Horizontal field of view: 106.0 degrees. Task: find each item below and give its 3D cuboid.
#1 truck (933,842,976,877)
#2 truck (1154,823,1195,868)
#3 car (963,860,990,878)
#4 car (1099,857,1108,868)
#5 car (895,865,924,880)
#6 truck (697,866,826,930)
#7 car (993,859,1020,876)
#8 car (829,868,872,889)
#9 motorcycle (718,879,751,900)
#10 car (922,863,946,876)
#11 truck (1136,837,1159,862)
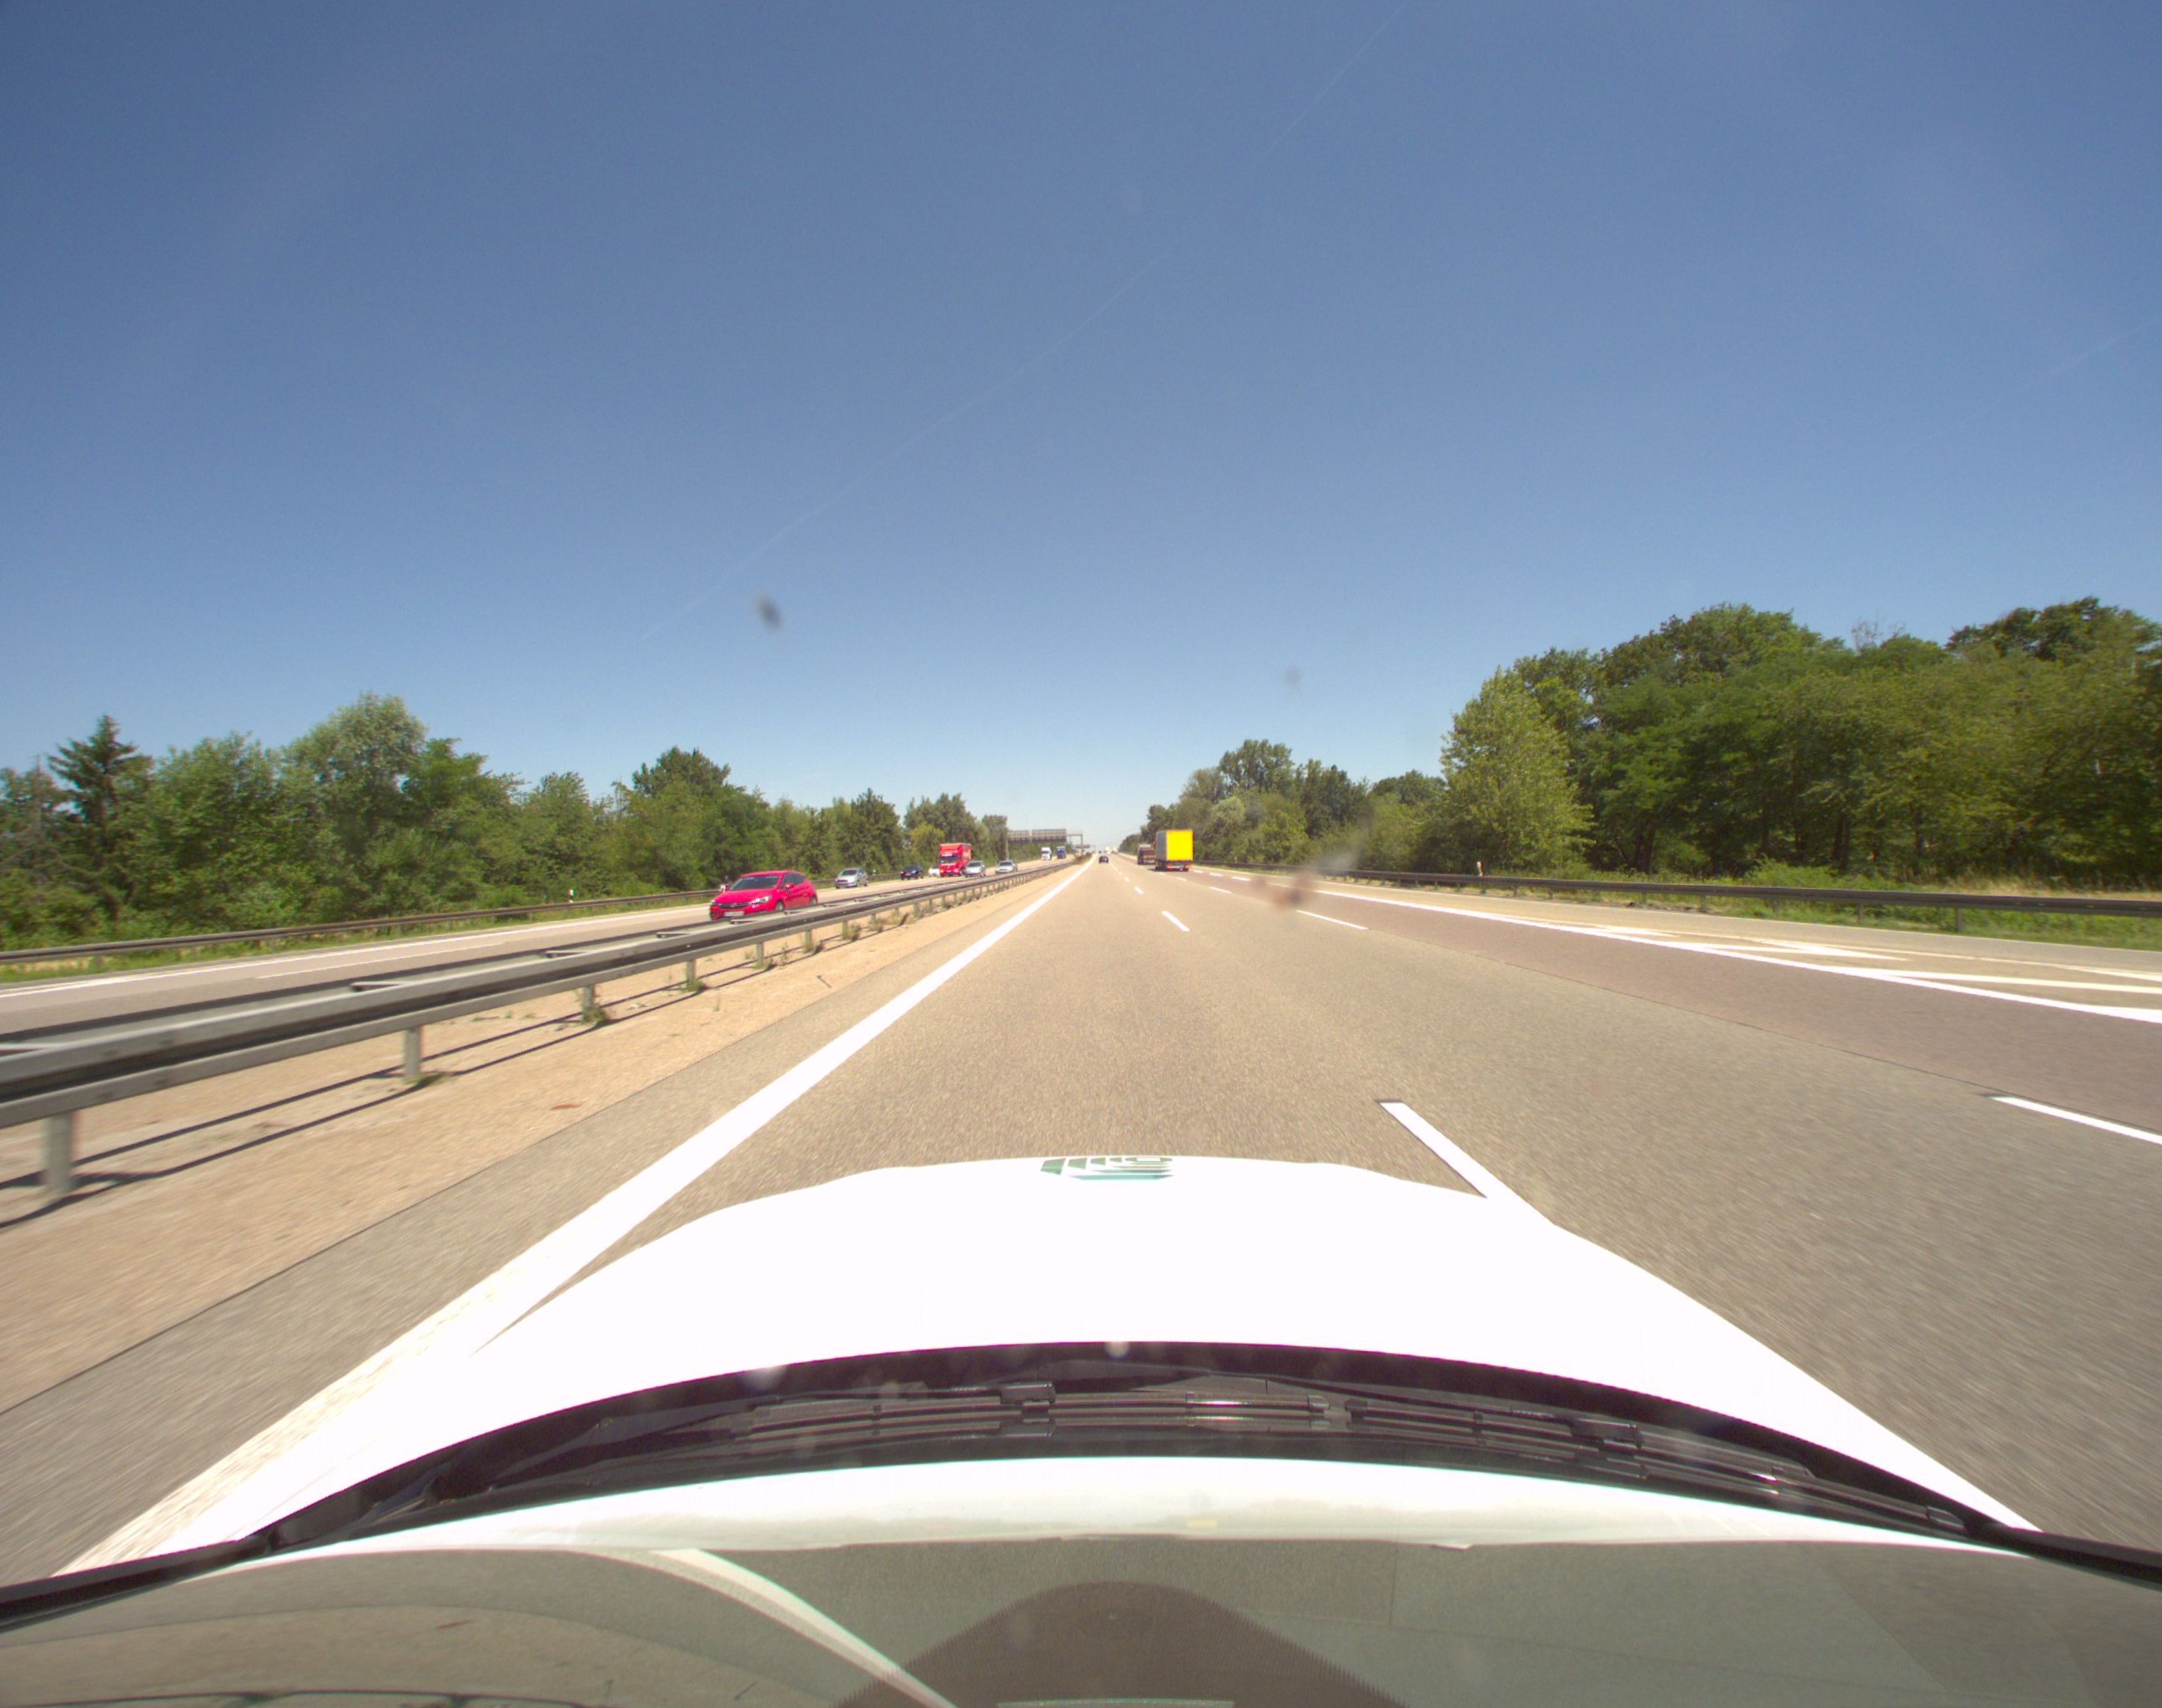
[{"bbox_3d":[-14.536,0.642,94.399,3.053,3.727,9.809,-2,0,2],"label":"truck"},{"bbox_3d":[9.777,-0.765,86.892,2.834,4.257,16.798,-2,0,2],"label":"truck"},{"bbox_3d":[-10.773,1.535,84.287,1.986,1.626,4.546,-3,0,2],"label":"car"},{"bbox_3d":[4.246,1.584,153.804,1.785,2.014,3.889,0,-1,2],"label":"car"},{"bbox_3d":[-19.122,2.032,90.958,1.985,1.578,4.272,0,0,4],"label":"car"},{"bbox_3d":[-9.041,1.183,23.469,1.823,1.563,4.312,-2,0,2],"label":"truck"},{"bbox_3d":[-7.567,1.362,83.300,1.986,1.552,5.227,-2,0,2],"label":"car"},{"bbox_3d":[-19.052,1.977,67.573,1.986,1.509,4.723,-4,0,2],"label":"car"},{"bbox_3d":[-20.803,2.120,48.989,0.775,1.112,2.397,-2,0,5],"label":"motorcycle"},{"bbox_3d":[-18.428,1.956,102.229,1.986,1.412,4.975,-2,0,2],"label":"car"},{"bbox_3d":[10.994,-0.707,136.538,2.958,3.957,16.619,0,0,2],"label":"truck"}]
